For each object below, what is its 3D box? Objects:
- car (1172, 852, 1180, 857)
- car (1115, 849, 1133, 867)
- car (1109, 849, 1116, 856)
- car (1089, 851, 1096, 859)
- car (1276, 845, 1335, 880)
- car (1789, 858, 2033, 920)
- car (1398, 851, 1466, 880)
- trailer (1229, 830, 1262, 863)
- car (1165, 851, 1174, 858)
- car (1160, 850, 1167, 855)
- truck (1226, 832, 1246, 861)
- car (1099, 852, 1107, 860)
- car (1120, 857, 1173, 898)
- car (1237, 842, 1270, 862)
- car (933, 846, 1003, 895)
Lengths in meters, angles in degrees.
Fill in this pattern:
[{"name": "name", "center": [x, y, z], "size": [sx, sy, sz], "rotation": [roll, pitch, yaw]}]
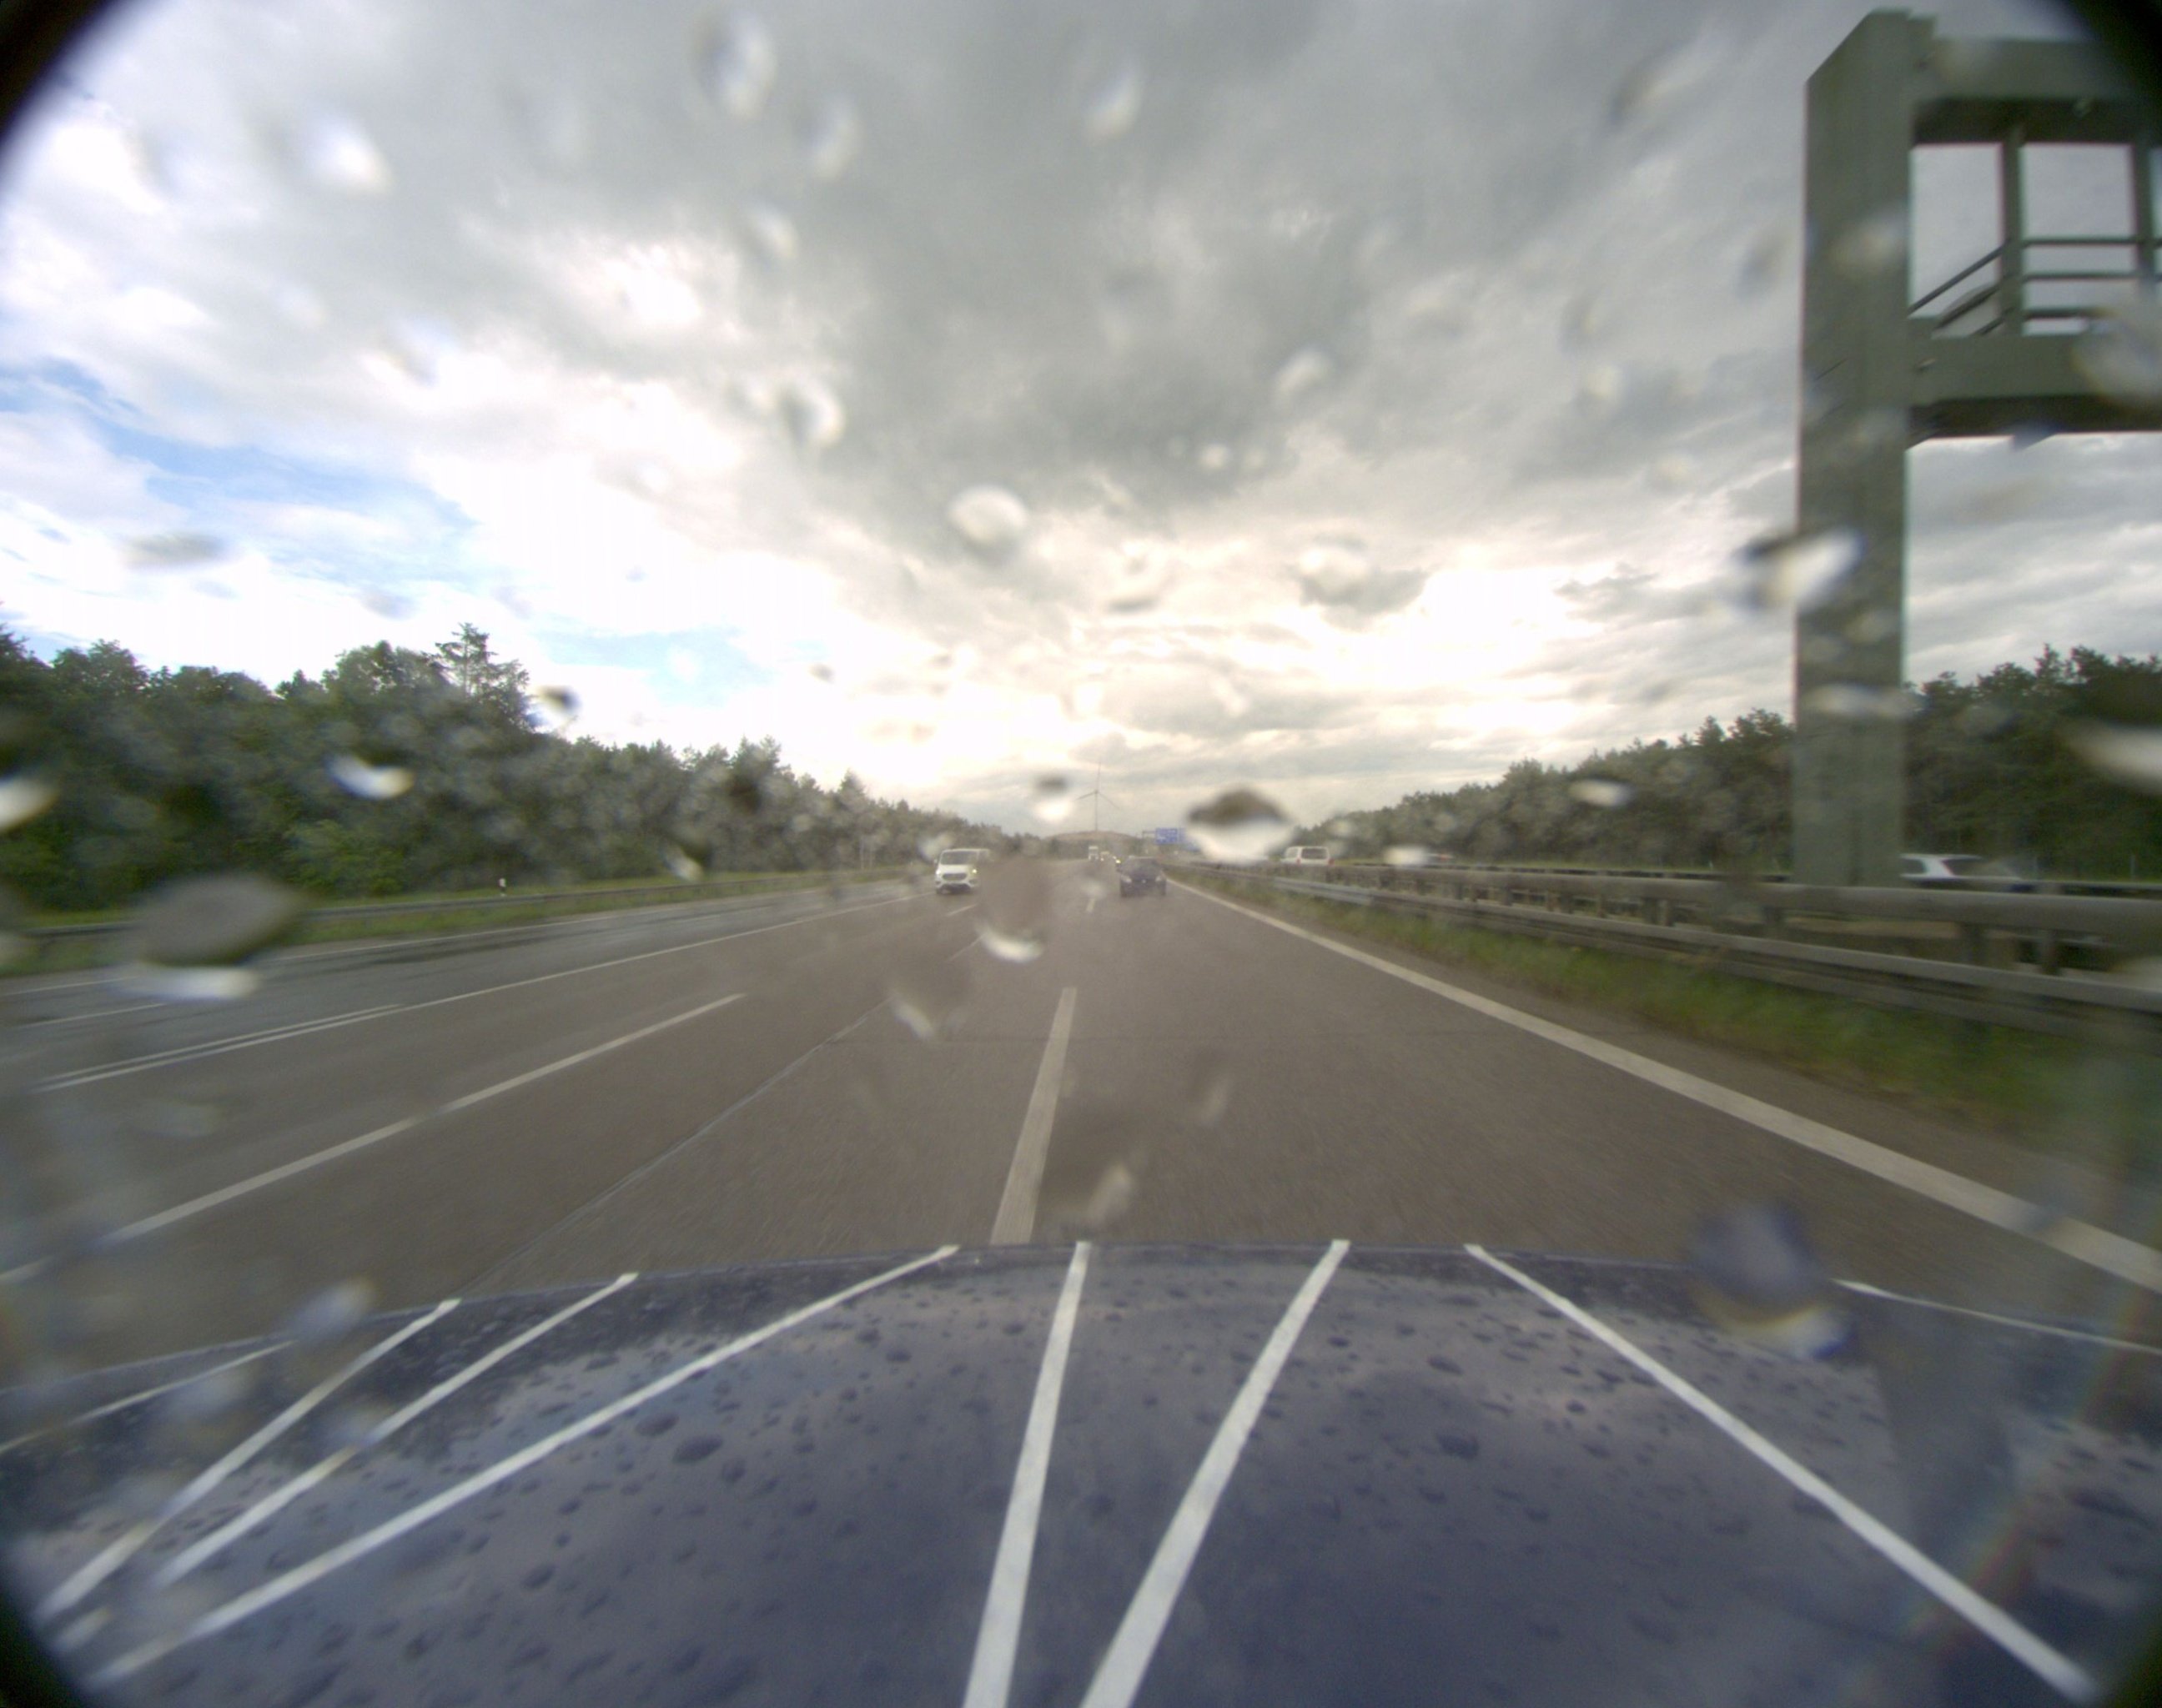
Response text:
[{"name": "car", "center": [28.251, 0.064, 225.160], "size": [1.920, 1.448, 4.652], "rotation": [-1, 0, 3]}, {"name": "car", "center": [5.156, 0.479, 91.239], "size": [1.998, 2.002, 4.001], "rotation": [-2, 0, 3]}, {"name": "car", "center": [10.255, -0.538, 246.867], "size": [1.998, 2.002, 4.000], "rotation": [0, 0, 1]}, {"name": "car", "center": [3.091, 0.226, 205.459], "size": [1.998, 2.002, 4.000], "rotation": [0, 0, 1]}, {"name": "car", "center": [12.486, 0.465, 42.576], "size": [1.902, 1.857, 4.898], "rotation": [0, 0, 1]}, {"name": "car", "center": [19.410, 0.748, 18.049], "size": [1.629, 1.250, 3.841], "rotation": [-1, 0, 1]}, {"name": "car", "center": [16.519, 0.521, 35.908], "size": [1.569, 1.250, 3.582], "rotation": [1, 0, 1]}, {"name": "trailer", "center": [23.309, -1.070, 108.520], "size": [2.102, 4.216, 14.626], "rotation": [-3, 0, 3]}, {"name": "car", "center": [21.519, 0.082, 185.161], "size": [1.864, 1.652, 4.472], "rotation": [0, 0, 1]}, {"name": "car", "center": [24.713, -0.363, 227.892], "size": [1.920, 1.356, 4.652], "rotation": [-1, 0, 3]}, {"name": "truck", "center": [23.666, -1.134, 115.998], "size": [2.144, 4.213, 4.707], "rotation": [-3, 1, 3]}, {"name": "car", "center": [5.388, 0.547, 188.833], "size": [1.998, 2.002, 4.000], "rotation": [0, 0, 1]}, {"name": "car", "center": [2.434, 0.823, 28.676], "size": [1.809, 1.321, 4.432], "rotation": [-2, 1, 4]}, {"name": "car", "center": [18.130, -0.209, 80.036], "size": [2.288, 2.002, 6.740], "rotation": [-3, 0, 4]}, {"name": "car", "center": [-5.084, 0.689, 35.046], "size": [1.998, 2.002, 5.484], "rotation": [-2, 0, 4]}]
